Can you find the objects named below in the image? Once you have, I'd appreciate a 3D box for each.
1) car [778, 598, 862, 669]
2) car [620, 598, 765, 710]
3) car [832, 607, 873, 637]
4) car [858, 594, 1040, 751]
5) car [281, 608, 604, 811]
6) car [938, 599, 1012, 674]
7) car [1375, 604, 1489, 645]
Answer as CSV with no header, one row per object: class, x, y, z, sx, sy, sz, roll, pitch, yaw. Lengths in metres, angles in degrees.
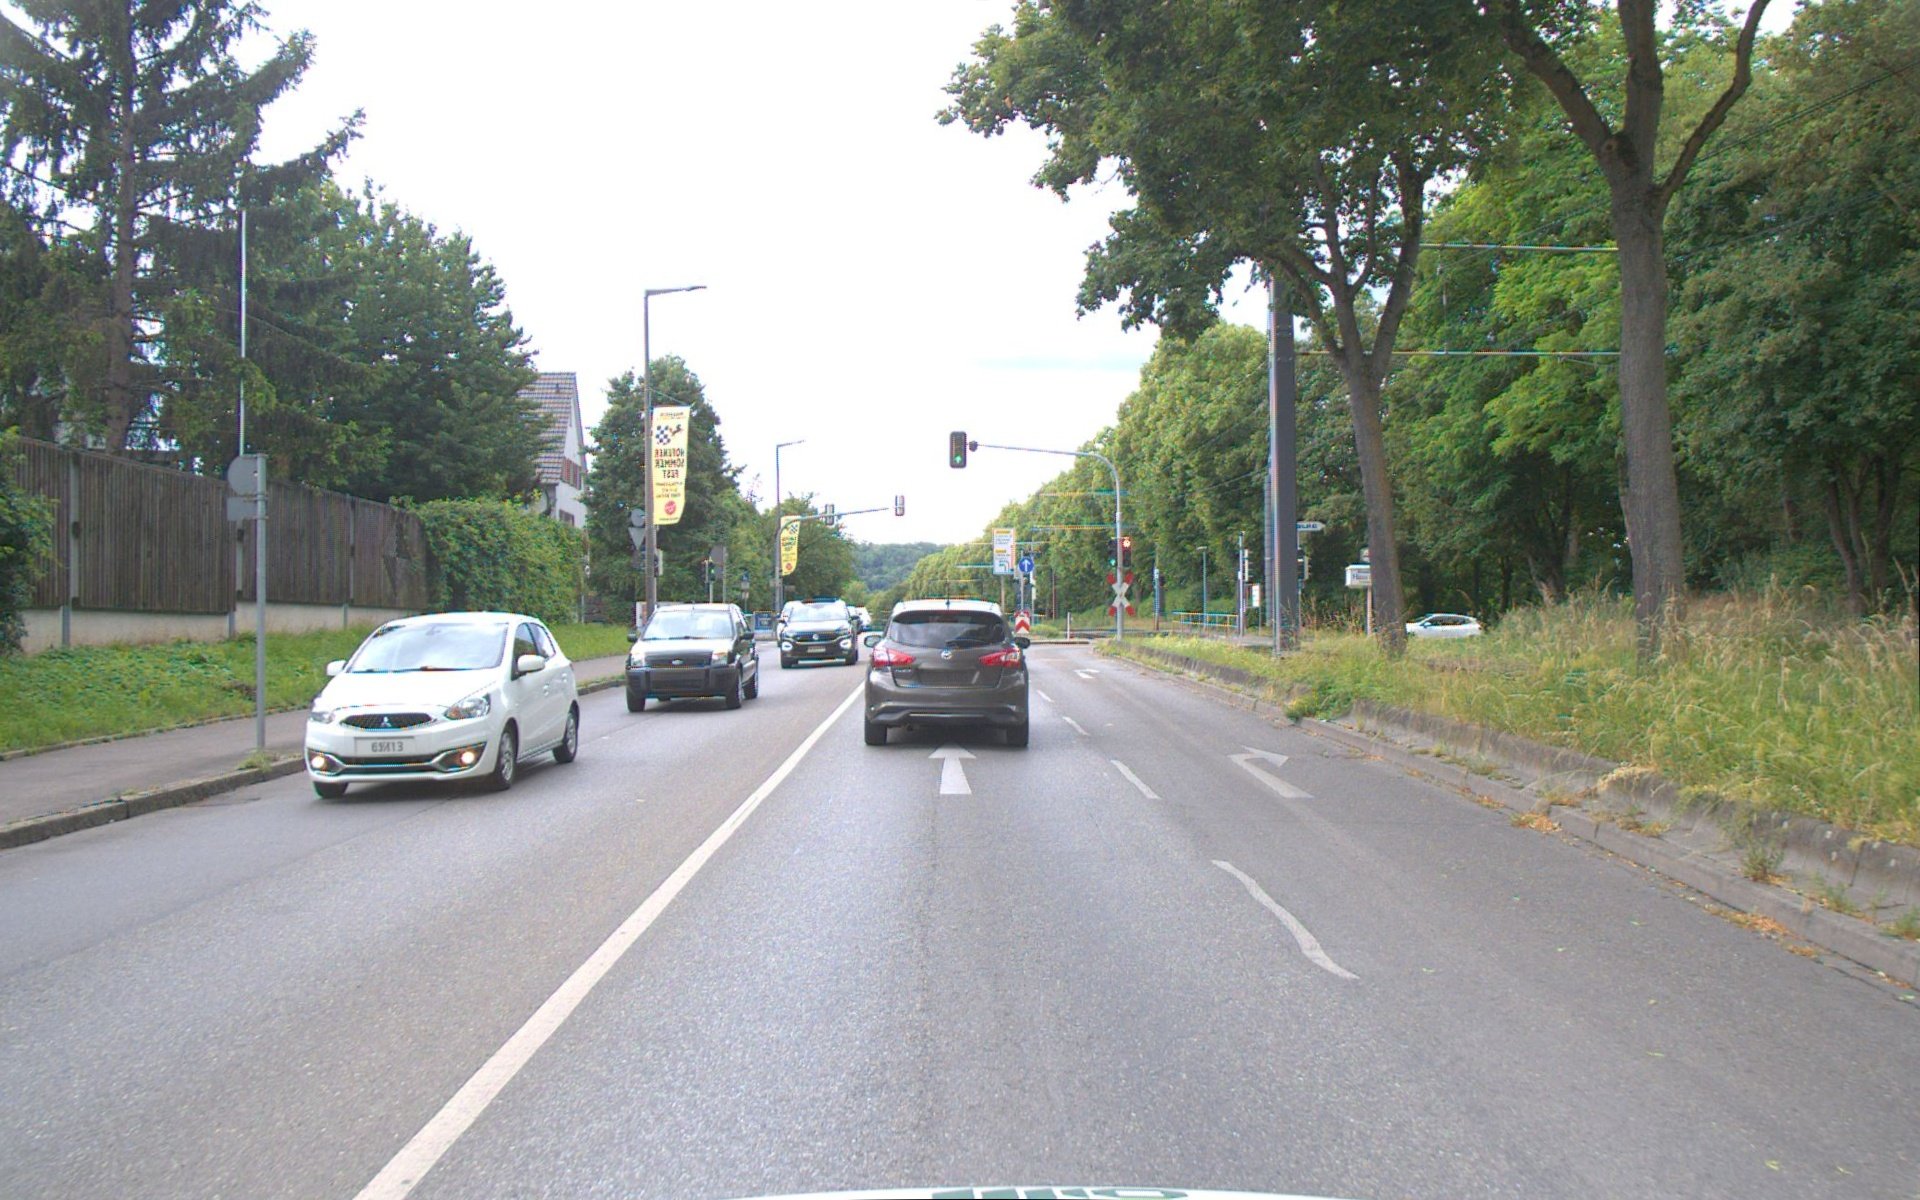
car,-3.328,0.776,40.063,1.776,1.550,4.175,-2,0,-2
car,-3.992,0.754,25.254,1.610,1.507,4.105,-2,0,-2
car,-5.486,1.134,84.929,1.775,1.396,4.160,3,0,0
car,-0.119,0.725,18.879,1.798,1.545,4.482,1,0,0
car,-4.522,0.872,15.099,1.585,1.487,4.072,-3,0,0
car,0.295,0.738,35.590,1.507,1.504,3.764,0,0,0
car,18.971,0.966,66.606,3.911,1.377,1.997,4,0,-6
